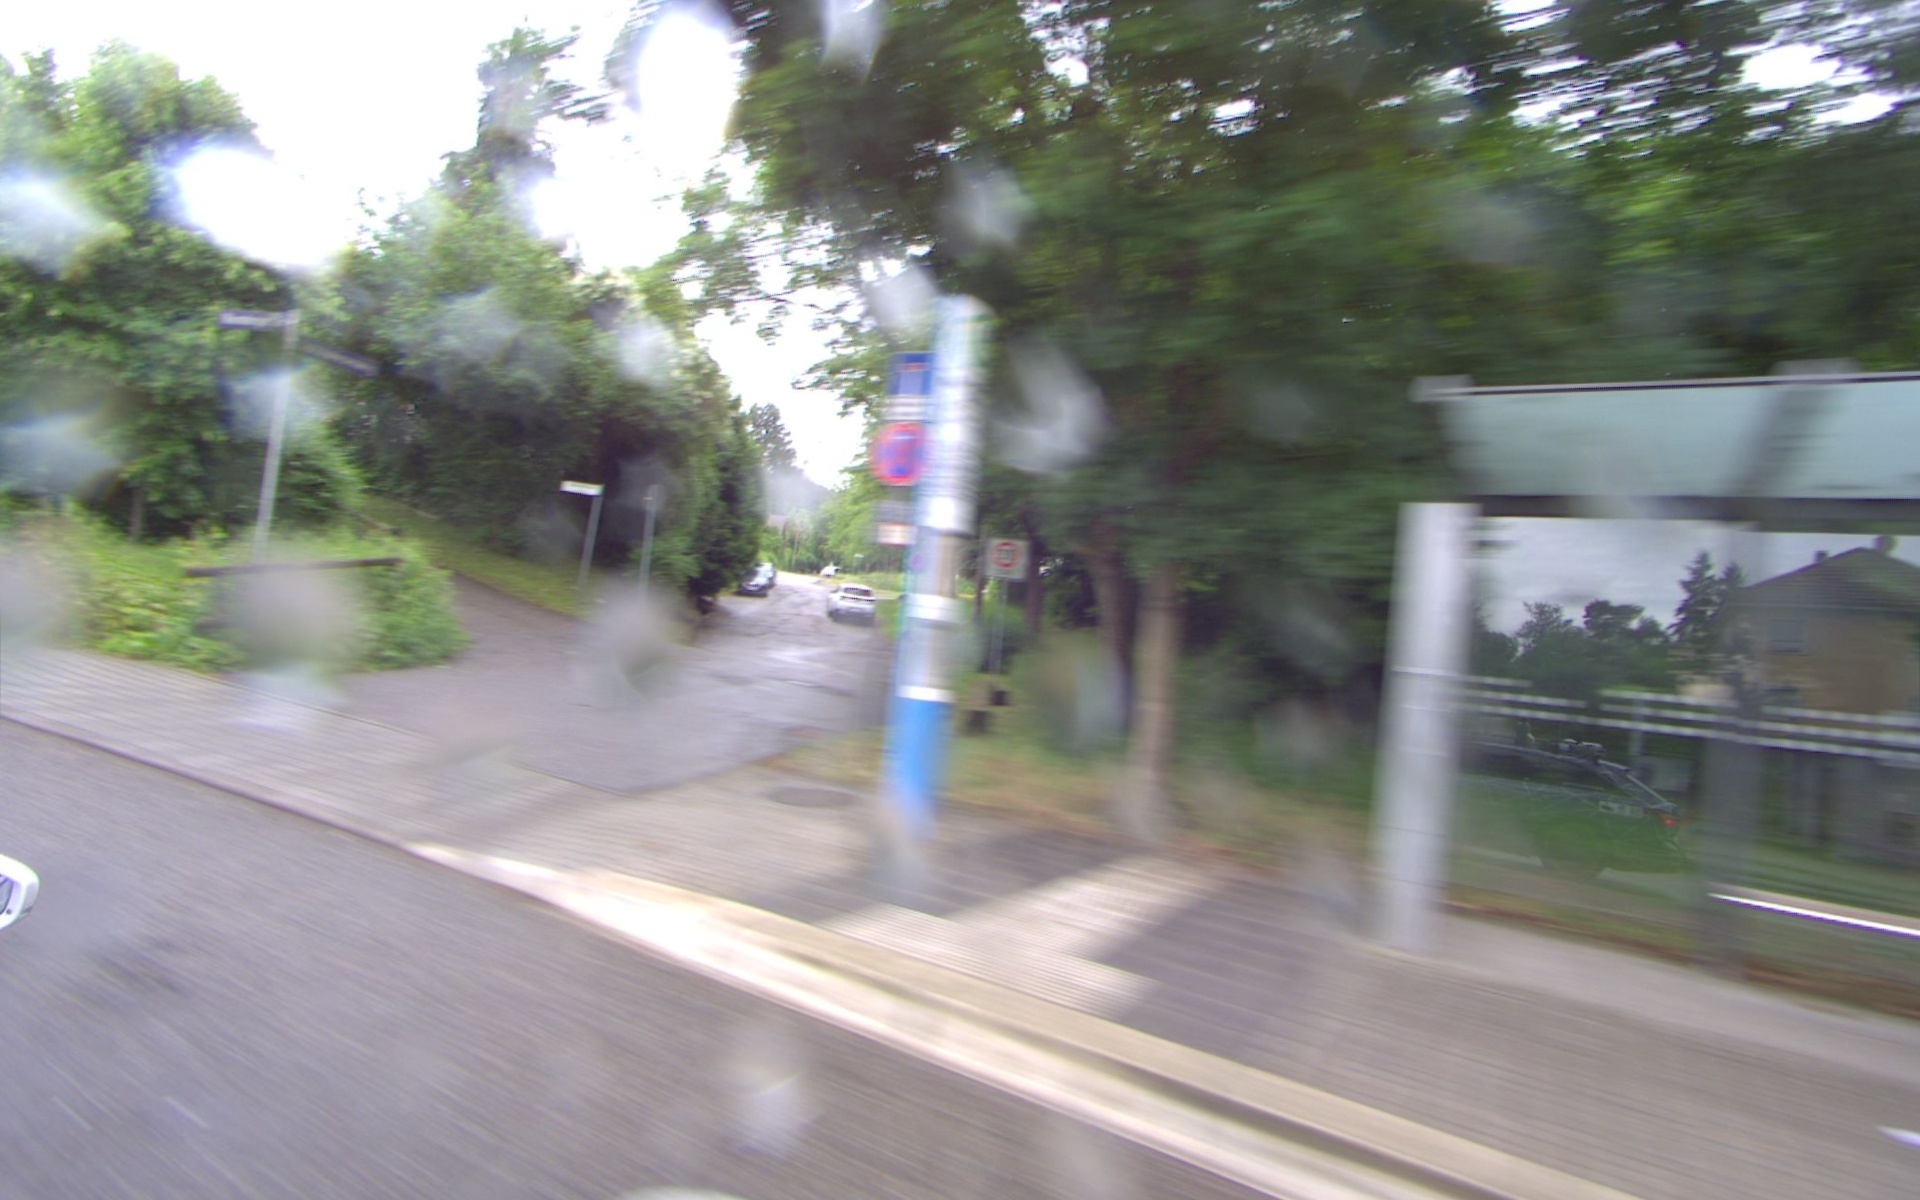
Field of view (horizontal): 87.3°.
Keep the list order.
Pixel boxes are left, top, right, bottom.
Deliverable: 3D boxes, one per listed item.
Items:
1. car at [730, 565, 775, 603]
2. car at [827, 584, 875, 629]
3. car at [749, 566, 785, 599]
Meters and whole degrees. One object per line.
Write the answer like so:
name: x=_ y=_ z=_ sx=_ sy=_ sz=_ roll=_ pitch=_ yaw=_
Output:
car: x=-11.132 y=-0.808 z=54.108 sx=1.965 sy=1.614 sz=4.000 roll=6 pitch=-3 yaw=-8
car: x=-4.855 y=0.285 z=44.339 sx=1.823 sy=1.640 sz=3.996 roll=8 pitch=-1 yaw=-8
car: x=-11.893 y=-1.022 z=61.825 sx=1.967 sy=1.614 sz=3.996 roll=6 pitch=-3 yaw=-11
